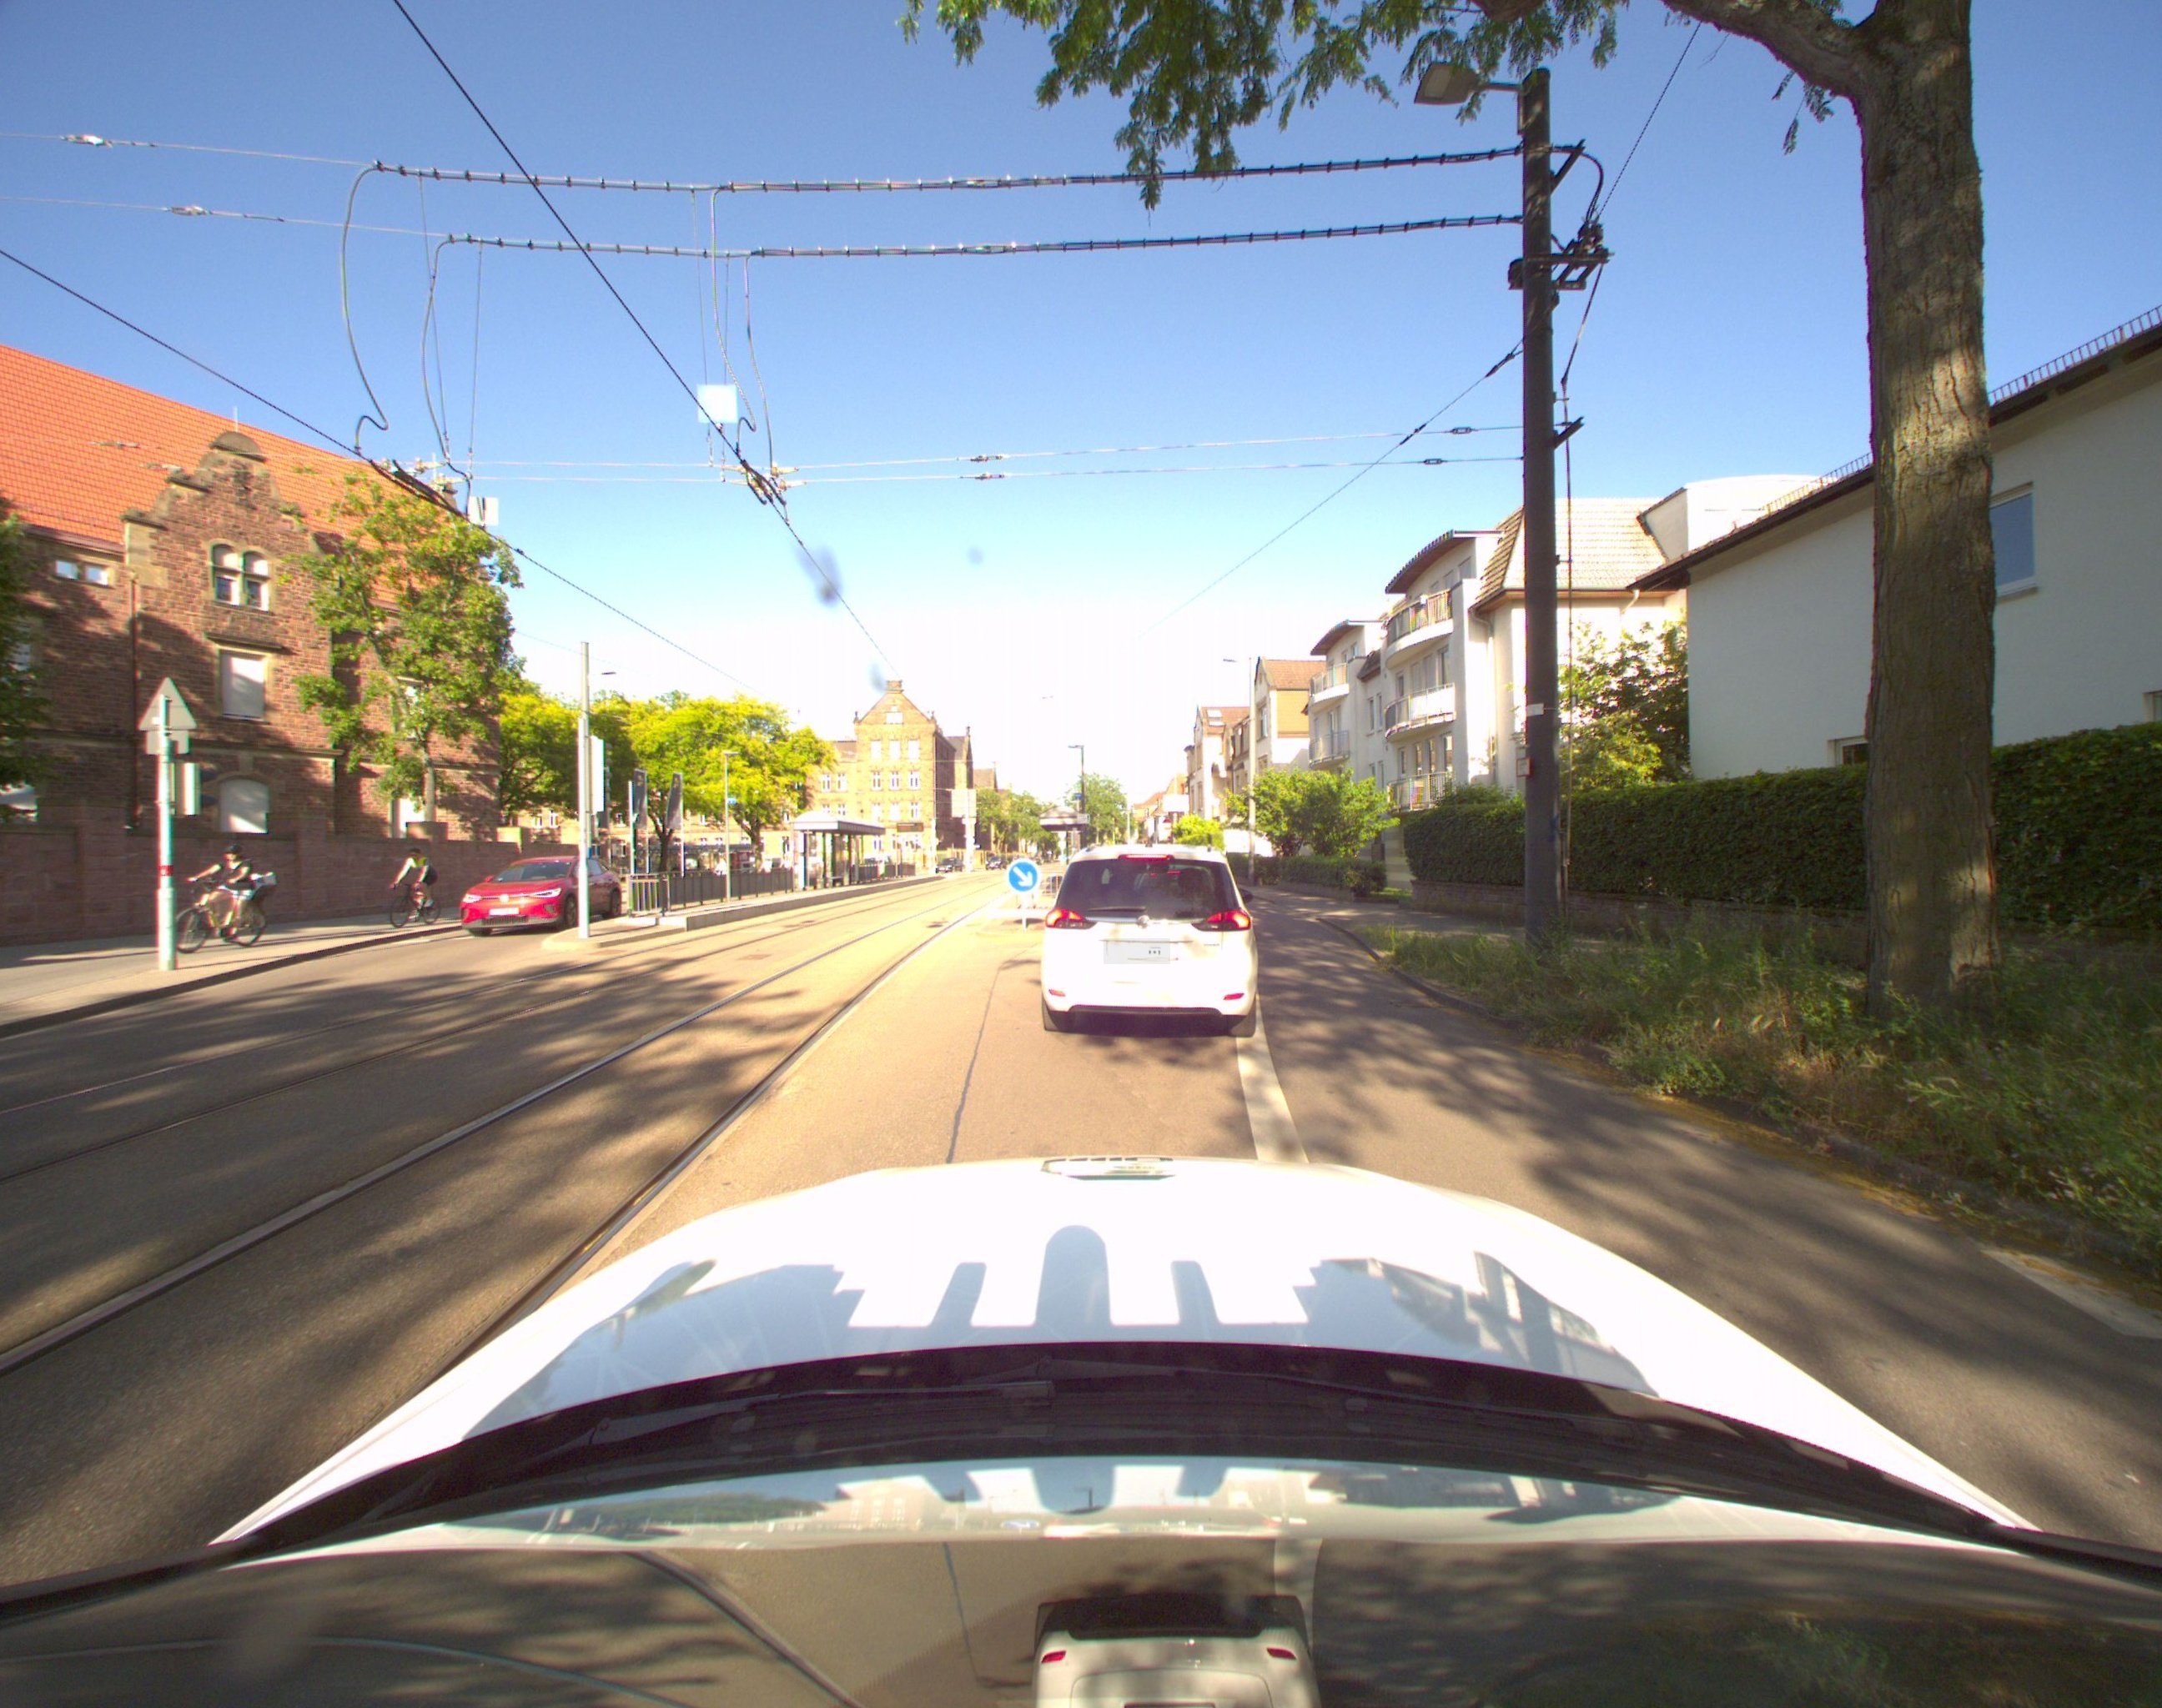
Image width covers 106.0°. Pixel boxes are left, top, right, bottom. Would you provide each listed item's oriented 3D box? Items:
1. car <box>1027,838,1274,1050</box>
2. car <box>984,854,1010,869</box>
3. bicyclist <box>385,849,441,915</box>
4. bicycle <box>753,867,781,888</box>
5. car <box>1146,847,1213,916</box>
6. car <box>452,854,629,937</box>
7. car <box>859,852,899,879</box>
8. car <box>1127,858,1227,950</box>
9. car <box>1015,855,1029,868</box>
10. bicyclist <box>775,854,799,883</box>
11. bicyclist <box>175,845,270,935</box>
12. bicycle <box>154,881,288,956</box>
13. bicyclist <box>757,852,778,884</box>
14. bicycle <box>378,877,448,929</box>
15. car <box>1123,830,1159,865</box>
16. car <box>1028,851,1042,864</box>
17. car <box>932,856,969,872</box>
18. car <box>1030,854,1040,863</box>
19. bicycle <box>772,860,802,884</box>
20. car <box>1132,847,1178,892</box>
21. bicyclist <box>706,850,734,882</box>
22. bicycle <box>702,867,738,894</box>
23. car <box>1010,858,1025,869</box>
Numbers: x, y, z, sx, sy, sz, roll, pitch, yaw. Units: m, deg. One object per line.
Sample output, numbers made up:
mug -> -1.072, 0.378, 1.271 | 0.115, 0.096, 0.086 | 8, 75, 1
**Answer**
car -> 0.775, 0.672, 8.190 | 1.868, 1.585, 4.008 | 0, 0, 7
car -> -9.484, 0.848, 92.222 | 1.815, 1.617, 4.340 | -1, -1, 10
bicyclist -> -15.389, 0.630, 18.793 | 0.655, 1.459, 1.144 | -1, 0, -21
bicycle -> -16.837, 1.237, 43.673 | 0.666, 1.072, 2.015 | 0, 0, 1
car -> 2.560, 0.644, 21.103 | 1.560, 1.614, 3.792 | 1, 0, 7
car -> -11.905, 0.827, 18.320 | 1.819, 1.607, 4.341 | -1, 0, -12
car -> -14.105, 0.753, 57.092 | 1.822, 1.788, 4.252 | -1, 0, -2
car -> 1.772, 0.804, 14.865 | 1.560, 1.401, 3.792 | 1, 0, 7
car -> -8.505, 1.059, 118.171 | 1.822, 1.788, 4.324 | -1, -1, -2
bicyclist -> -15.748, 0.753, 43.626 | 0.758, 1.536, 1.348 | -1, 0, 1
bicyclist -> -14.547, 0.586, 13.836 | 0.655, 1.459, 1.144 | -1, 0, -20
bicycle -> -14.550, 1.049, 13.860 | 0.686, 1.089, 2.050 | -1, 0, -19
bicyclist -> -16.834, 0.730, 43.743 | 0.648, 1.674, 1.234 | 1, 1, 2
bicycle -> -15.384, 1.096, 18.800 | 0.687, 1.089, 1.842 | -1, 0, -21
car -> 2.927, -0.364, 40.414 | 1.590, 1.634, 3.903 | 1, 1, 2
car -> -7.815, 0.574, 138.323 | 1.985, 2.013, 4.003 | -1, 0, 3
car -> -12.268, 0.951, 76.850 | 1.785, 1.382, 4.511 | -1, 0, 13
car -> -8.318, 0.777, 147.168 | 1.657, 1.651, 3.999 | -1, 0, 0
bicycle -> -15.748, 0.960, 43.659 | 0.774, 1.231, 2.089 | -1, 0, 1
car -> 2.884, 0.574, 32.373 | 1.590, 1.635, 3.903 | 1, 0, 2
bicyclist -> -16.797, 0.572, 37.910 | 0.754, 1.471, 1.190 | 0, -1, 0
bicycle -> -16.789, 1.225, 37.903 | 0.812, 1.198, 1.952 | 0, 0, 0
car -> -8.189, 1.212, 105.102 | 1.823, 1.446, 4.321 | -1, -1, -4
